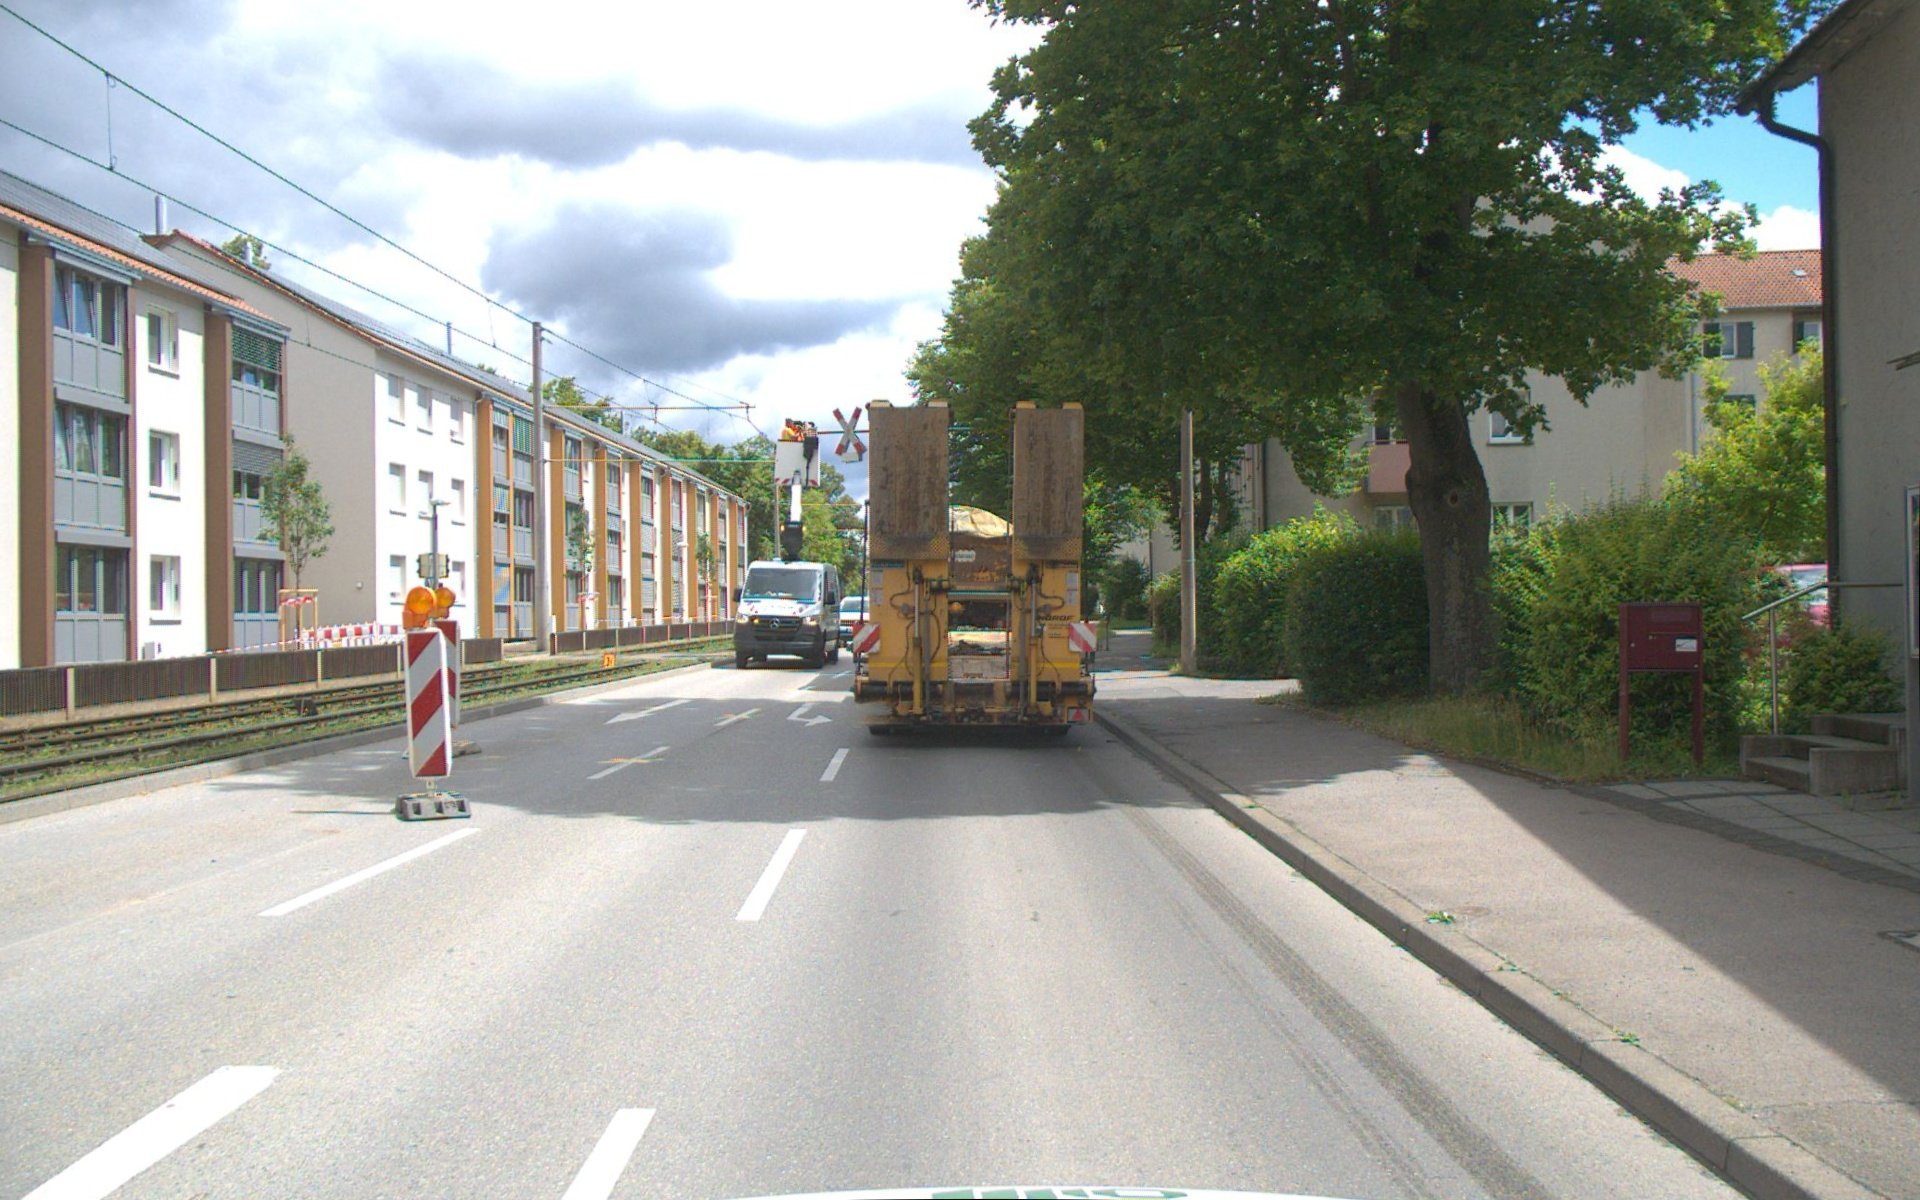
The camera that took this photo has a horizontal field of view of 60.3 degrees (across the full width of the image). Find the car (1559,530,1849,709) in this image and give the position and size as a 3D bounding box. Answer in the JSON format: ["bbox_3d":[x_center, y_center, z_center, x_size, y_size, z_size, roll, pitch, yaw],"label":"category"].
[{"bbox_3d":[7.940,0.207,18.064,1.773,1.678,4.003,-2,-1,8],"label":"car"}]

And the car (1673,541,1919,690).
[{"bbox_3d":[10.397,0.183,20.215,1.774,1.611,4.001,-2,-1,3],"label":"car"}]

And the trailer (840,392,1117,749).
[{"bbox_3d":[0.202,-0.287,22.313,2.765,3.586,11.051,1,0,0],"label":"trailer"}]

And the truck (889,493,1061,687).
[{"bbox_3d":[0.272,-0.163,31.680,2.857,3.222,7.680,1,0,0],"label":"truck"}]

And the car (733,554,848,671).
[{"bbox_3d":[-3.825,0.266,38.373,1.952,2.473,6.322,0,0,1],"label":"car"}]

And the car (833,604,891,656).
[{"bbox_3d":[-3.132,0.944,53.485,1.683,1.579,3.917,0,0,0],"label":"car"}]
